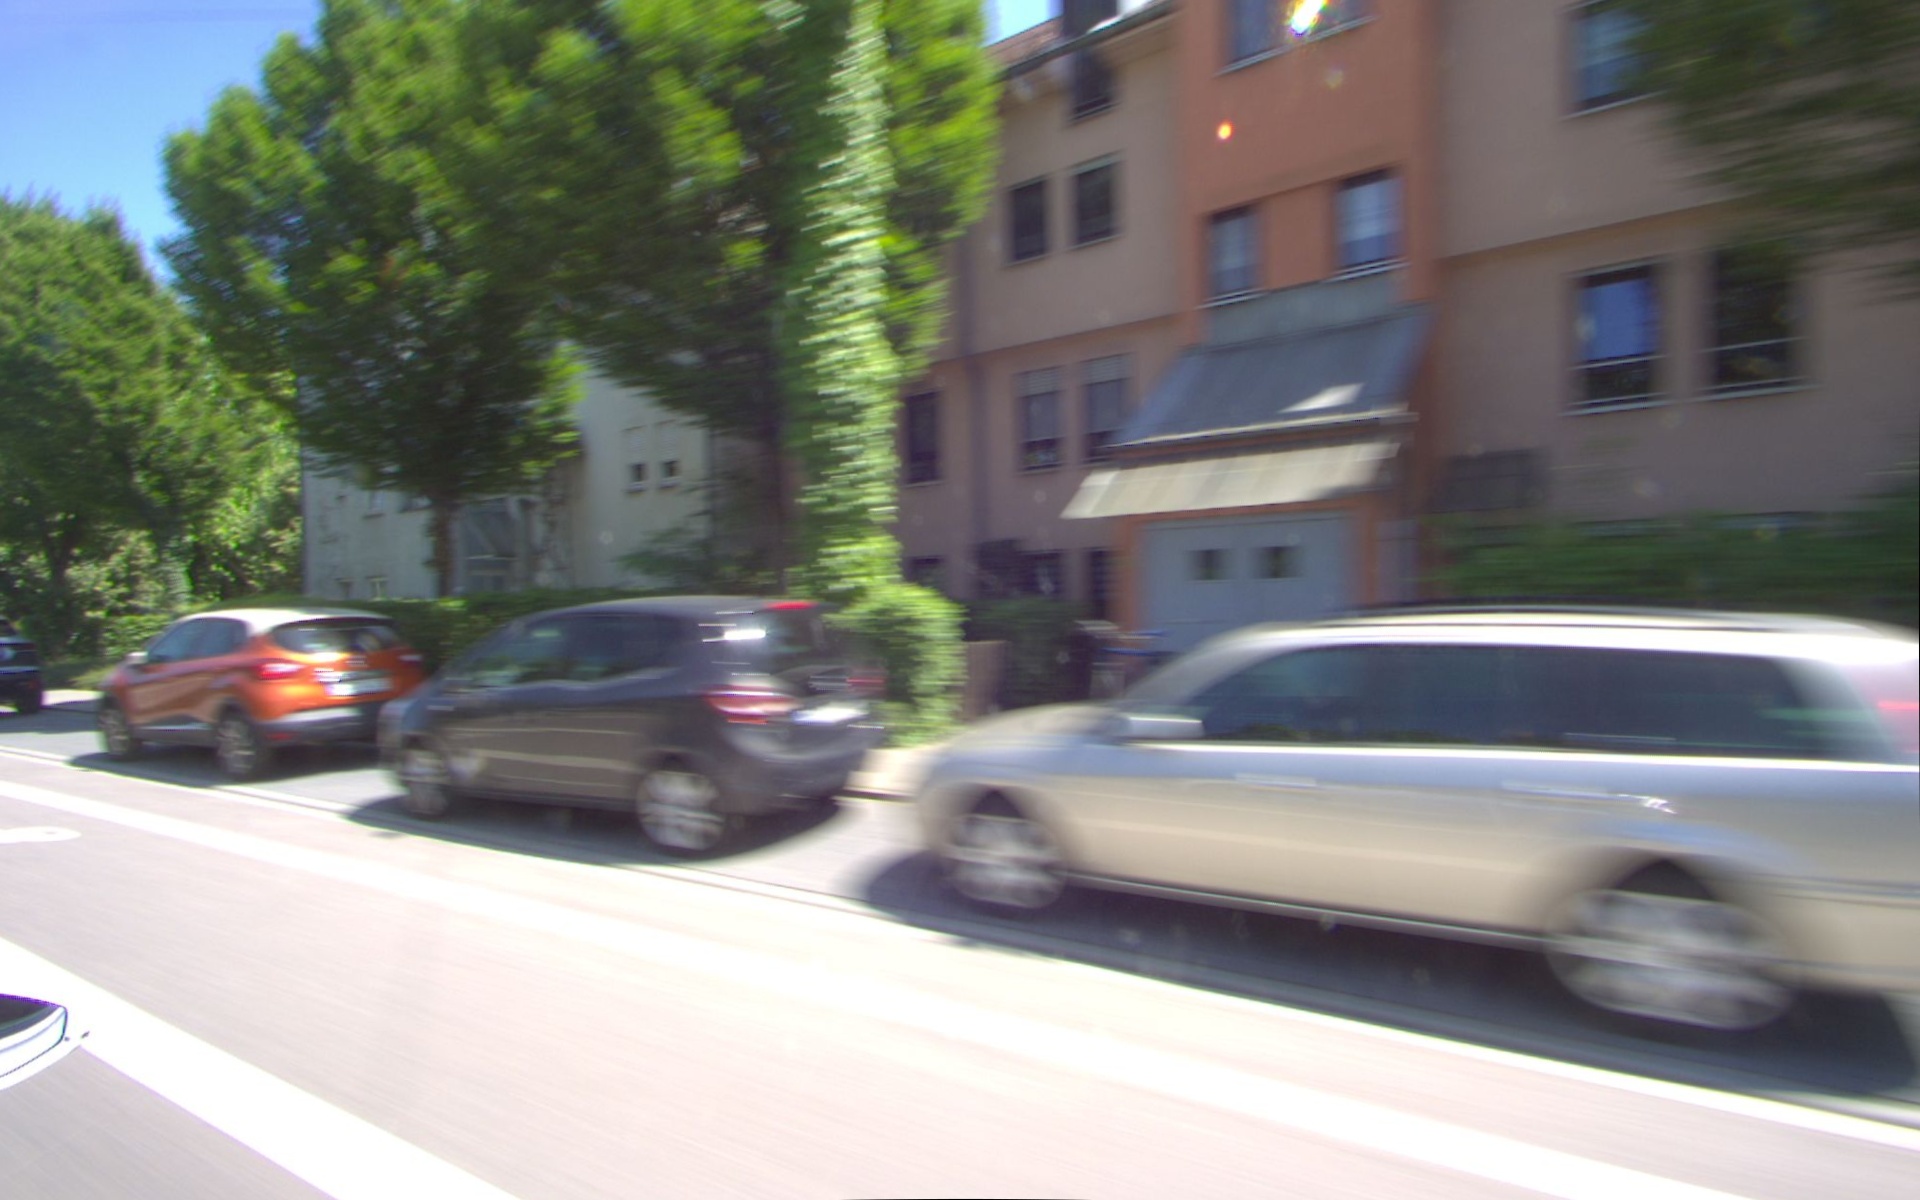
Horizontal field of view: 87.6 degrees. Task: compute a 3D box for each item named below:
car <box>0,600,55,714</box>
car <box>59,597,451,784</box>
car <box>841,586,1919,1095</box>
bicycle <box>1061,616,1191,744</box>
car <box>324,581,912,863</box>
[{"bbox_3d":[-16.233,0.899,15.603,4.257,1.653,1.753,-1,3,28],"label":"car"},{"bbox_3d":[-7.594,0.828,10.709,4.259,1.584,1.703,-1,3,30],"label":"car"},{"bbox_3d":[1.799,0.759,4.852,4.664,1.513,1.702,0,3,33],"label":"car"},{"bbox_3d":[1.720,0.760,10.190,0.509,1.155,1.638,0,1,41],"label":"bicycle"},{"bbox_3d":[-2.643,0.721,7.557,4.257,1.584,1.704,-1,3,28],"label":"car"}]
